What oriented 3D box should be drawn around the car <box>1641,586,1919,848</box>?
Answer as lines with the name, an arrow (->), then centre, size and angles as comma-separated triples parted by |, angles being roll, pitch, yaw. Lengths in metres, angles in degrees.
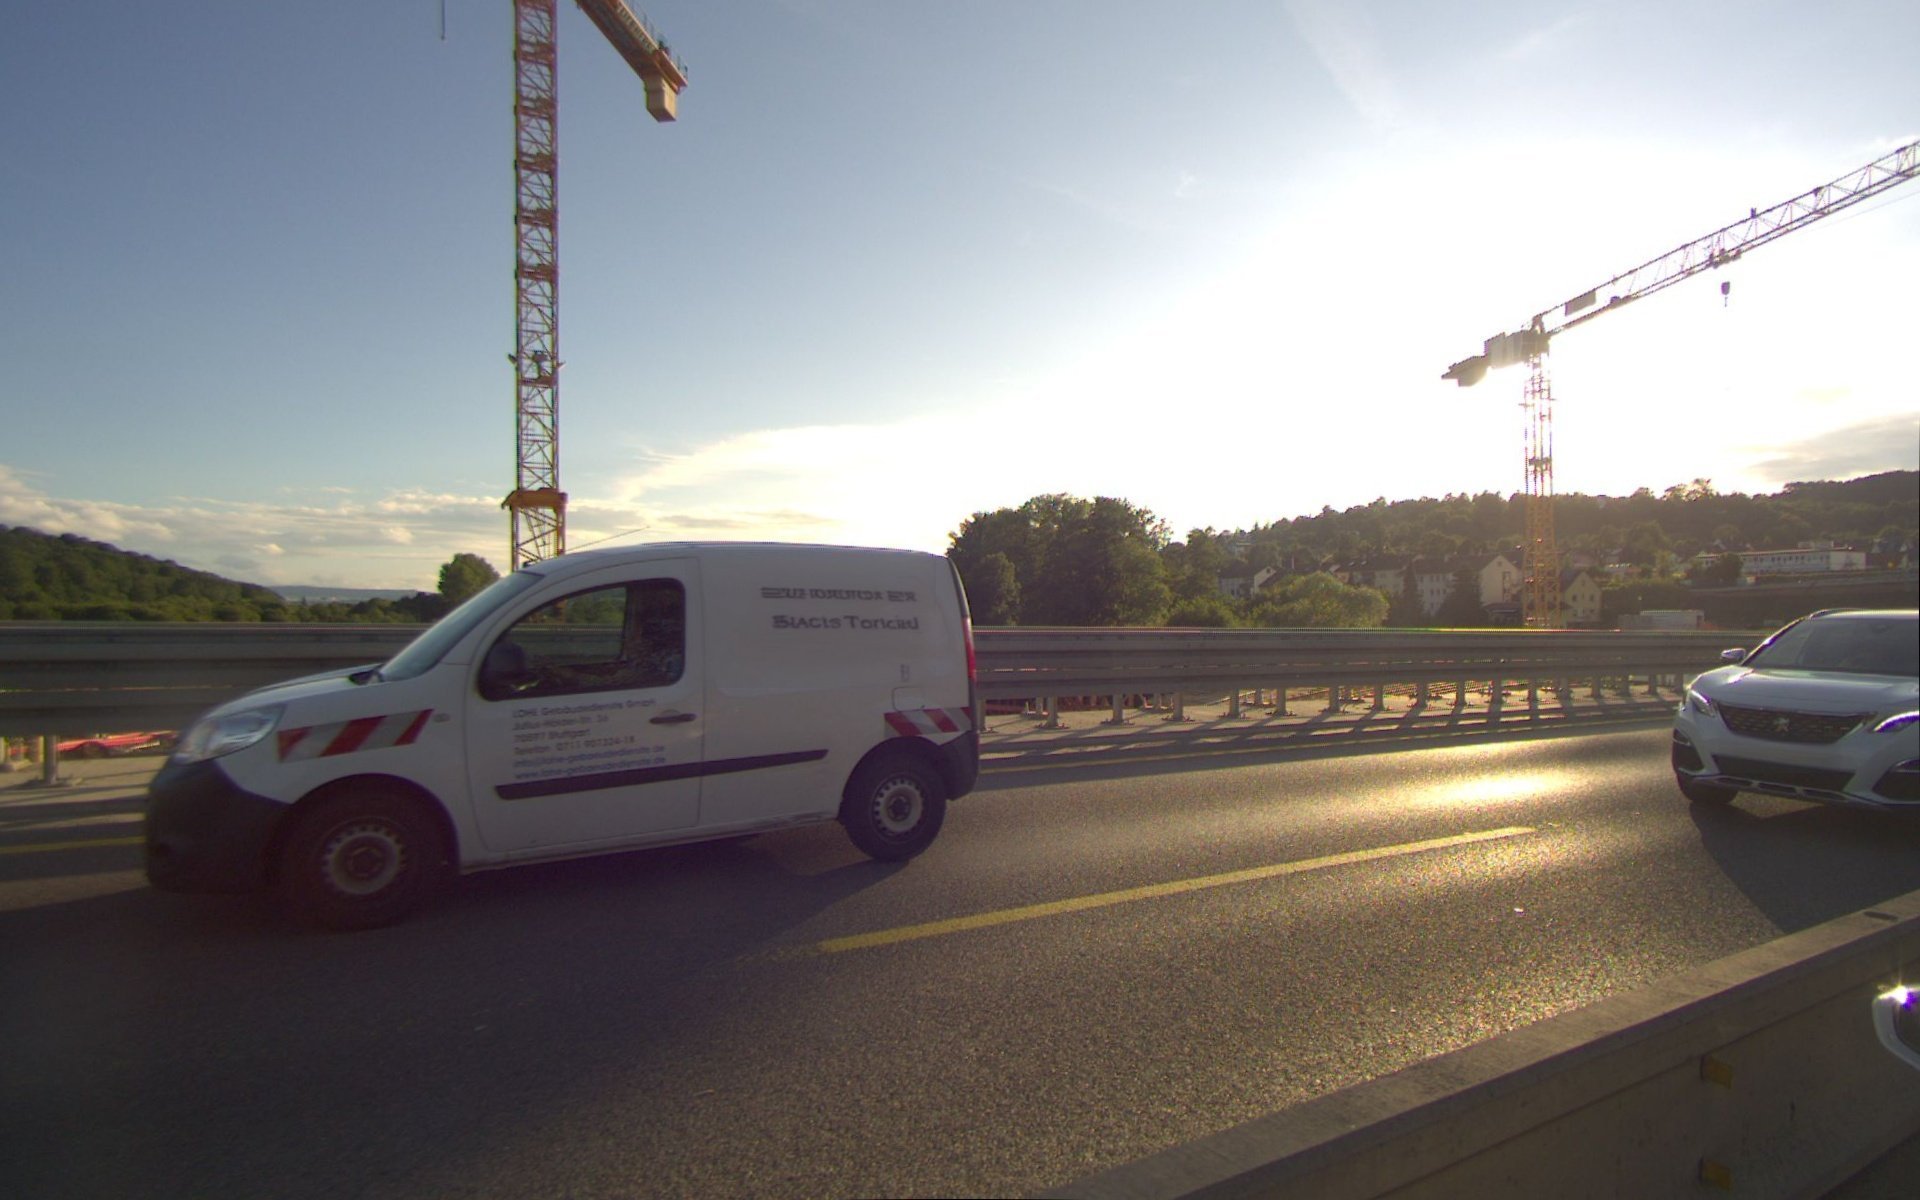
car -> 7.438, 0.790, 8.007 | 3.953, 1.661, 1.829 | 1, -1, -31

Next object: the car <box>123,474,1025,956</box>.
car -> -1.925, 0.494, 5.868 | 4.232, 1.881, 1.984 | 1, -1, -31
